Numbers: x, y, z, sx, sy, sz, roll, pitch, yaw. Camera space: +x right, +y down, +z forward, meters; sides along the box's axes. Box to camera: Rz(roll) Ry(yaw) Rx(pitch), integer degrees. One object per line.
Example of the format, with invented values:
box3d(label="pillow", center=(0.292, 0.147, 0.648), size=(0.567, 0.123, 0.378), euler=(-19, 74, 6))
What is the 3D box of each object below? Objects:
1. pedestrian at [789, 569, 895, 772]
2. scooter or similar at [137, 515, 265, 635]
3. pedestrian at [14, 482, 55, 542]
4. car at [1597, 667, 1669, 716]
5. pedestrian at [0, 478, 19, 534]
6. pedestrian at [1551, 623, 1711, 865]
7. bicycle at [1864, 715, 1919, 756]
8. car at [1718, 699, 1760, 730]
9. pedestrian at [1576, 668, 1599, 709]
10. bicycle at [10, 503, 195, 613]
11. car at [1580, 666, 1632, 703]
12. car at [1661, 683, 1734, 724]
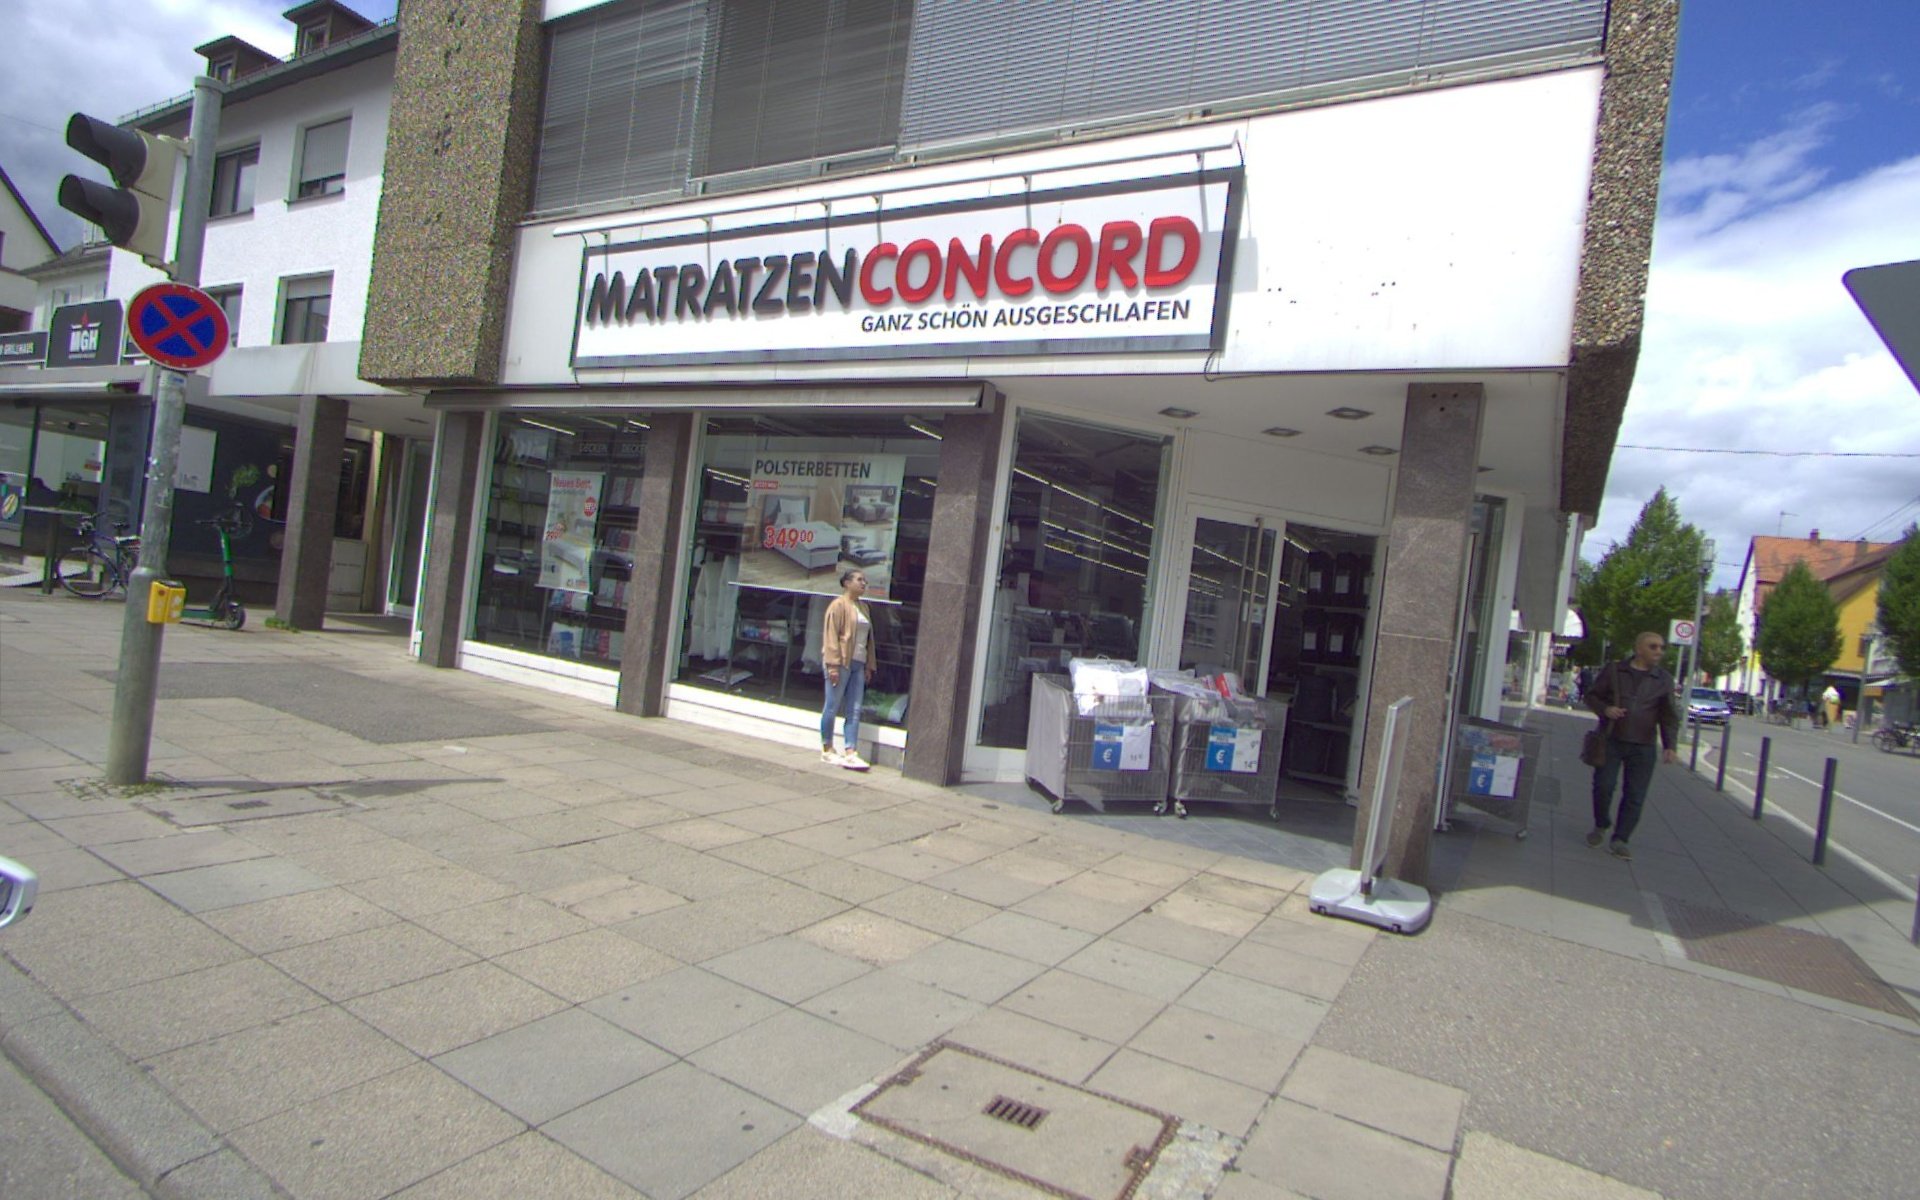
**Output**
box3d(label="pedestrian", center=(-0.912, 0.528, 7.746), size=(0.493, 1.479, 0.502), euler=(8, 4, 44))
box3d(label="scooter or similar", center=(-8.893, -0.292, 11.790), size=(1.222, 1.270, 0.341), euler=(6, 3, 5))
box3d(label="pedestrian", center=(-17.600, -1.675, 19.136), size=(0.361, 1.065, 0.415), euler=(8, 1, 29))
box3d(label="car", center=(27.027, 3.678, 40.524), size=(1.793, 1.670, 3.998), euler=(6, -2, 27))
box3d(label="pedestrian", center=(-18.847, -1.861, 19.727), size=(0.361, 1.065, 0.415), euler=(8, 1, 29))
box3d(label="pedestrian", center=(5.176, 1.090, 7.802), size=(0.608, 1.729, 0.579), euler=(6, 3, -1))
box3d(label="bicycle", center=(32.506, 4.701, 34.776), size=(1.691, 1.234, 0.560), euler=(5, -1, 35))
box3d(label="car", center=(52.249, 7.654, 67.510), size=(1.652, 1.818, 3.811), euler=(6, -2, 31))
box3d(label="pedestrian", center=(28.397, 4.000, 45.555), size=(0.569, 1.729, 0.619), euler=(8, 3, 21))
box3d(label="bicycle", center=(-11.333, -0.548, 13.293), size=(2.256, 1.159, 0.556), euler=(7, 1, 13))
box3d(label="car", center=(34.404, 4.512, 53.689), size=(1.793, 1.670, 3.998), euler=(6, -2, 27))
box3d(label="car", center=(30.683, 4.299, 41.958), size=(1.676, 1.414, 3.998), euler=(6, -2, 27))
